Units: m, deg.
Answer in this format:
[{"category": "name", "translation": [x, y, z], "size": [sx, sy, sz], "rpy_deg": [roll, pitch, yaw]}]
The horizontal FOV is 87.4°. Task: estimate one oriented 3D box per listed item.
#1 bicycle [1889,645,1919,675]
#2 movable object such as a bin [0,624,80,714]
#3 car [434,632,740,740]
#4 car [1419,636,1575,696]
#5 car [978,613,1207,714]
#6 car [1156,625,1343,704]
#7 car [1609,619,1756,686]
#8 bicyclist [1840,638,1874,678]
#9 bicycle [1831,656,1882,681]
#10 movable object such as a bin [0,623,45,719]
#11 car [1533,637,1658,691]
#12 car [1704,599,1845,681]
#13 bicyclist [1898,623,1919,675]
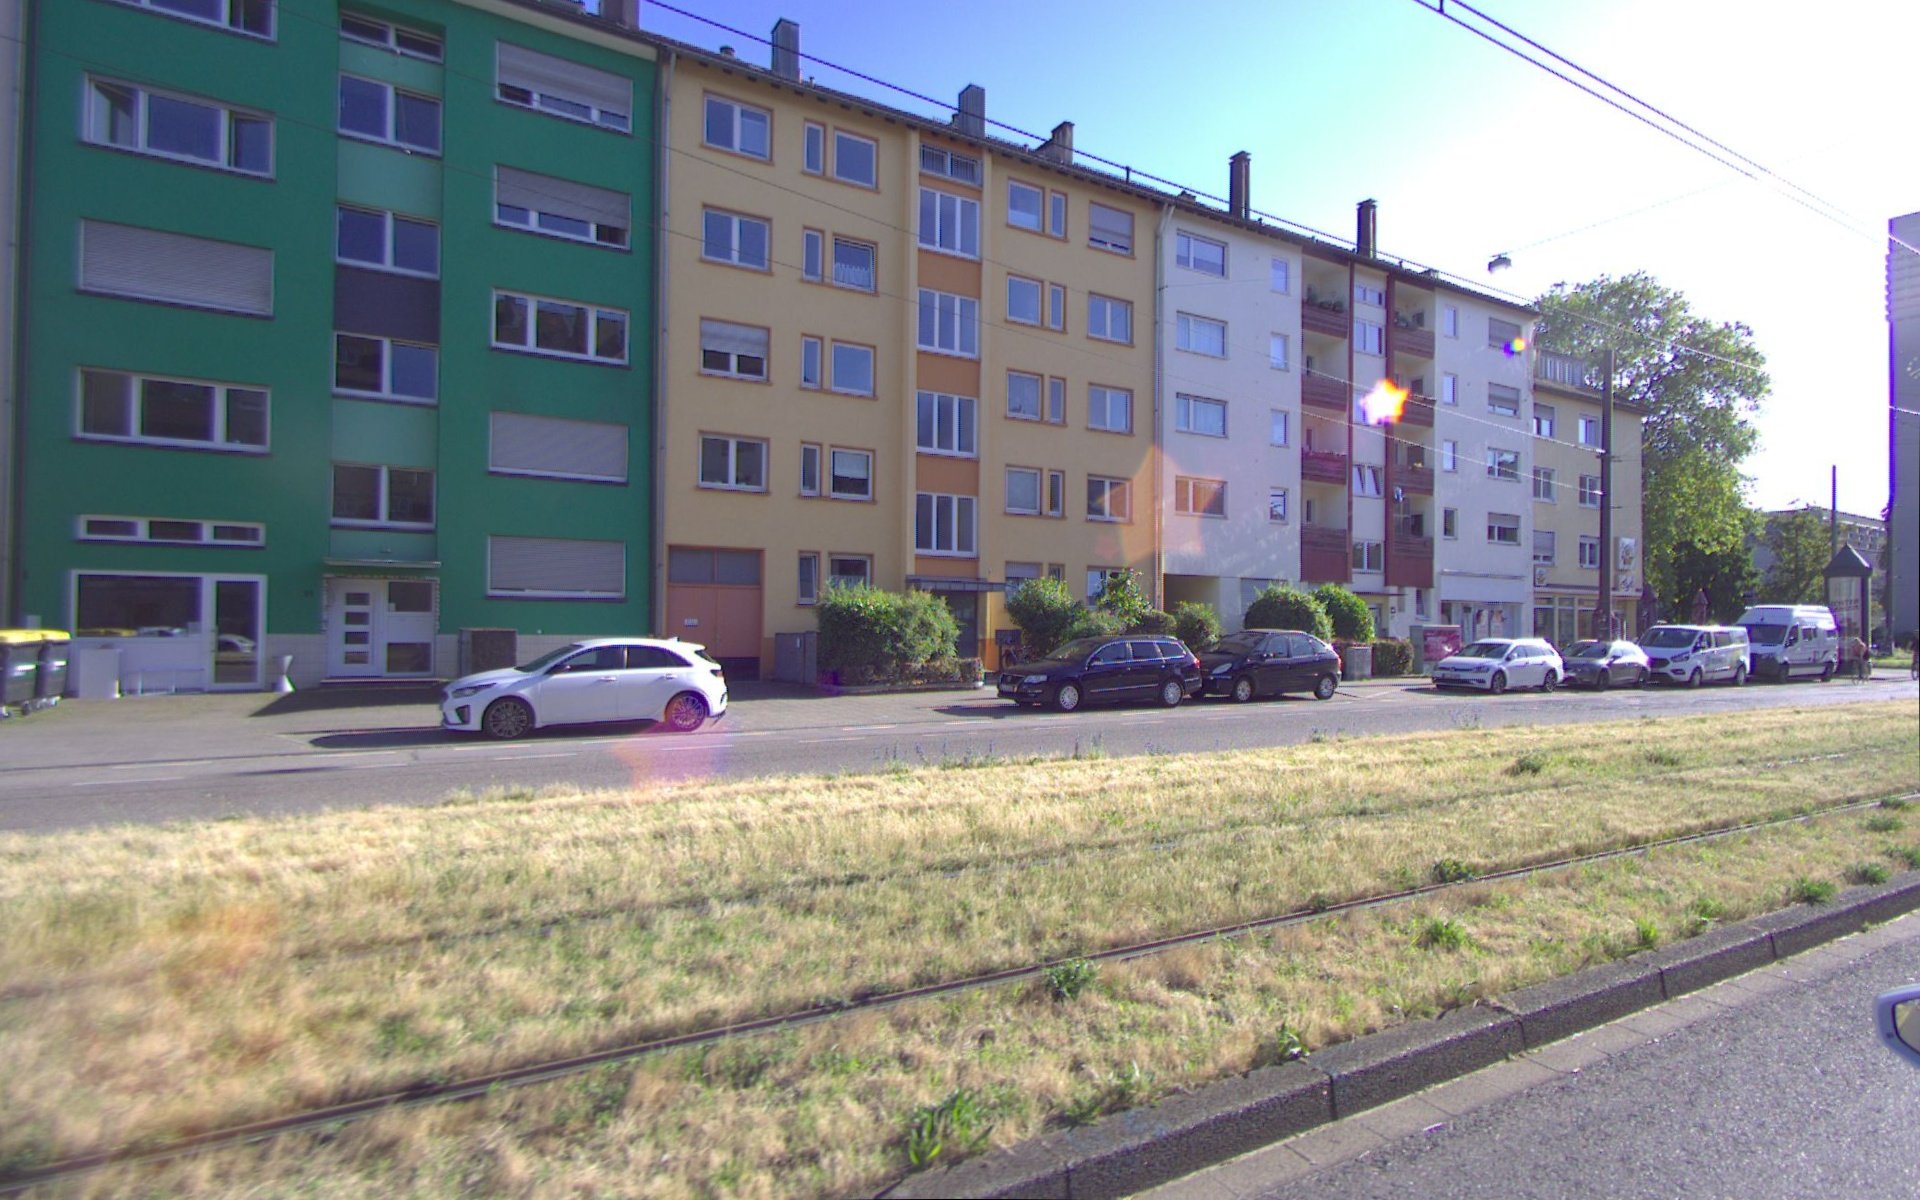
[{"category": "bicycle", "translation": [38.015, 2.378, 40.000], "size": [2.445, 1.161, 0.765], "rpy_deg": [2, -3, -30]}, {"category": "movable object such as a bin", "translation": [-15.461, 1.130, 16.663], "size": [1.026, 1.386, 1.142], "rpy_deg": [2, 1, -28]}, {"category": "car", "translation": [-5.873, 1.285, 15.974], "size": [4.325, 1.474, 1.720], "rpy_deg": [2, -1, -30]}, {"category": "car", "translation": [15.373, 1.825, 28.685], "size": [4.652, 1.511, 1.881], "rpy_deg": [2, 0, -33]}, {"category": "car", "translation": [2.849, 1.291, 21.339], "size": [4.556, 1.862, 1.983], "rpy_deg": [2, 1, -31]}, {"category": "car", "translation": [6.910, 1.493, 23.944], "size": [4.103, 1.629, 1.983], "rpy_deg": [2, 1, -31]}, {"category": "car", "translation": [24.782, 1.773, 34.407], "size": [5.306, 2.048, 2.023], "rpy_deg": [2, 1, -30]}, {"category": "bicyclist", "translation": [32.372, 2.077, 36.254], "size": [0.640, 1.402, 0.769], "rpy_deg": [1, -2, -30]}, {"category": "bicycle", "translation": [32.395, 2.463, 36.287], "size": [2.044, 0.891, 0.765], "rpy_deg": [2, -3, -30]}, {"category": "movable object such as a bin", "translation": [-14.971, 1.071, 15.457], "size": [1.026, 1.386, 1.142], "rpy_deg": [2, 1, -28]}, {"category": "car", "translation": [19.866, 1.967, 31.354], "size": [4.280, 1.535, 1.684], "rpy_deg": [2, -1, -33]}, {"category": "car", "translation": [30.913, 1.488, 38.069], "size": [6.153, 2.907, 2.023], "rpy_deg": [2, 0, -30]}, {"category": "bicyclist", "translation": [38.069, 1.948, 40.055], "size": [0.640, 2.041, 0.769], "rpy_deg": [1, 1, -30]}]
